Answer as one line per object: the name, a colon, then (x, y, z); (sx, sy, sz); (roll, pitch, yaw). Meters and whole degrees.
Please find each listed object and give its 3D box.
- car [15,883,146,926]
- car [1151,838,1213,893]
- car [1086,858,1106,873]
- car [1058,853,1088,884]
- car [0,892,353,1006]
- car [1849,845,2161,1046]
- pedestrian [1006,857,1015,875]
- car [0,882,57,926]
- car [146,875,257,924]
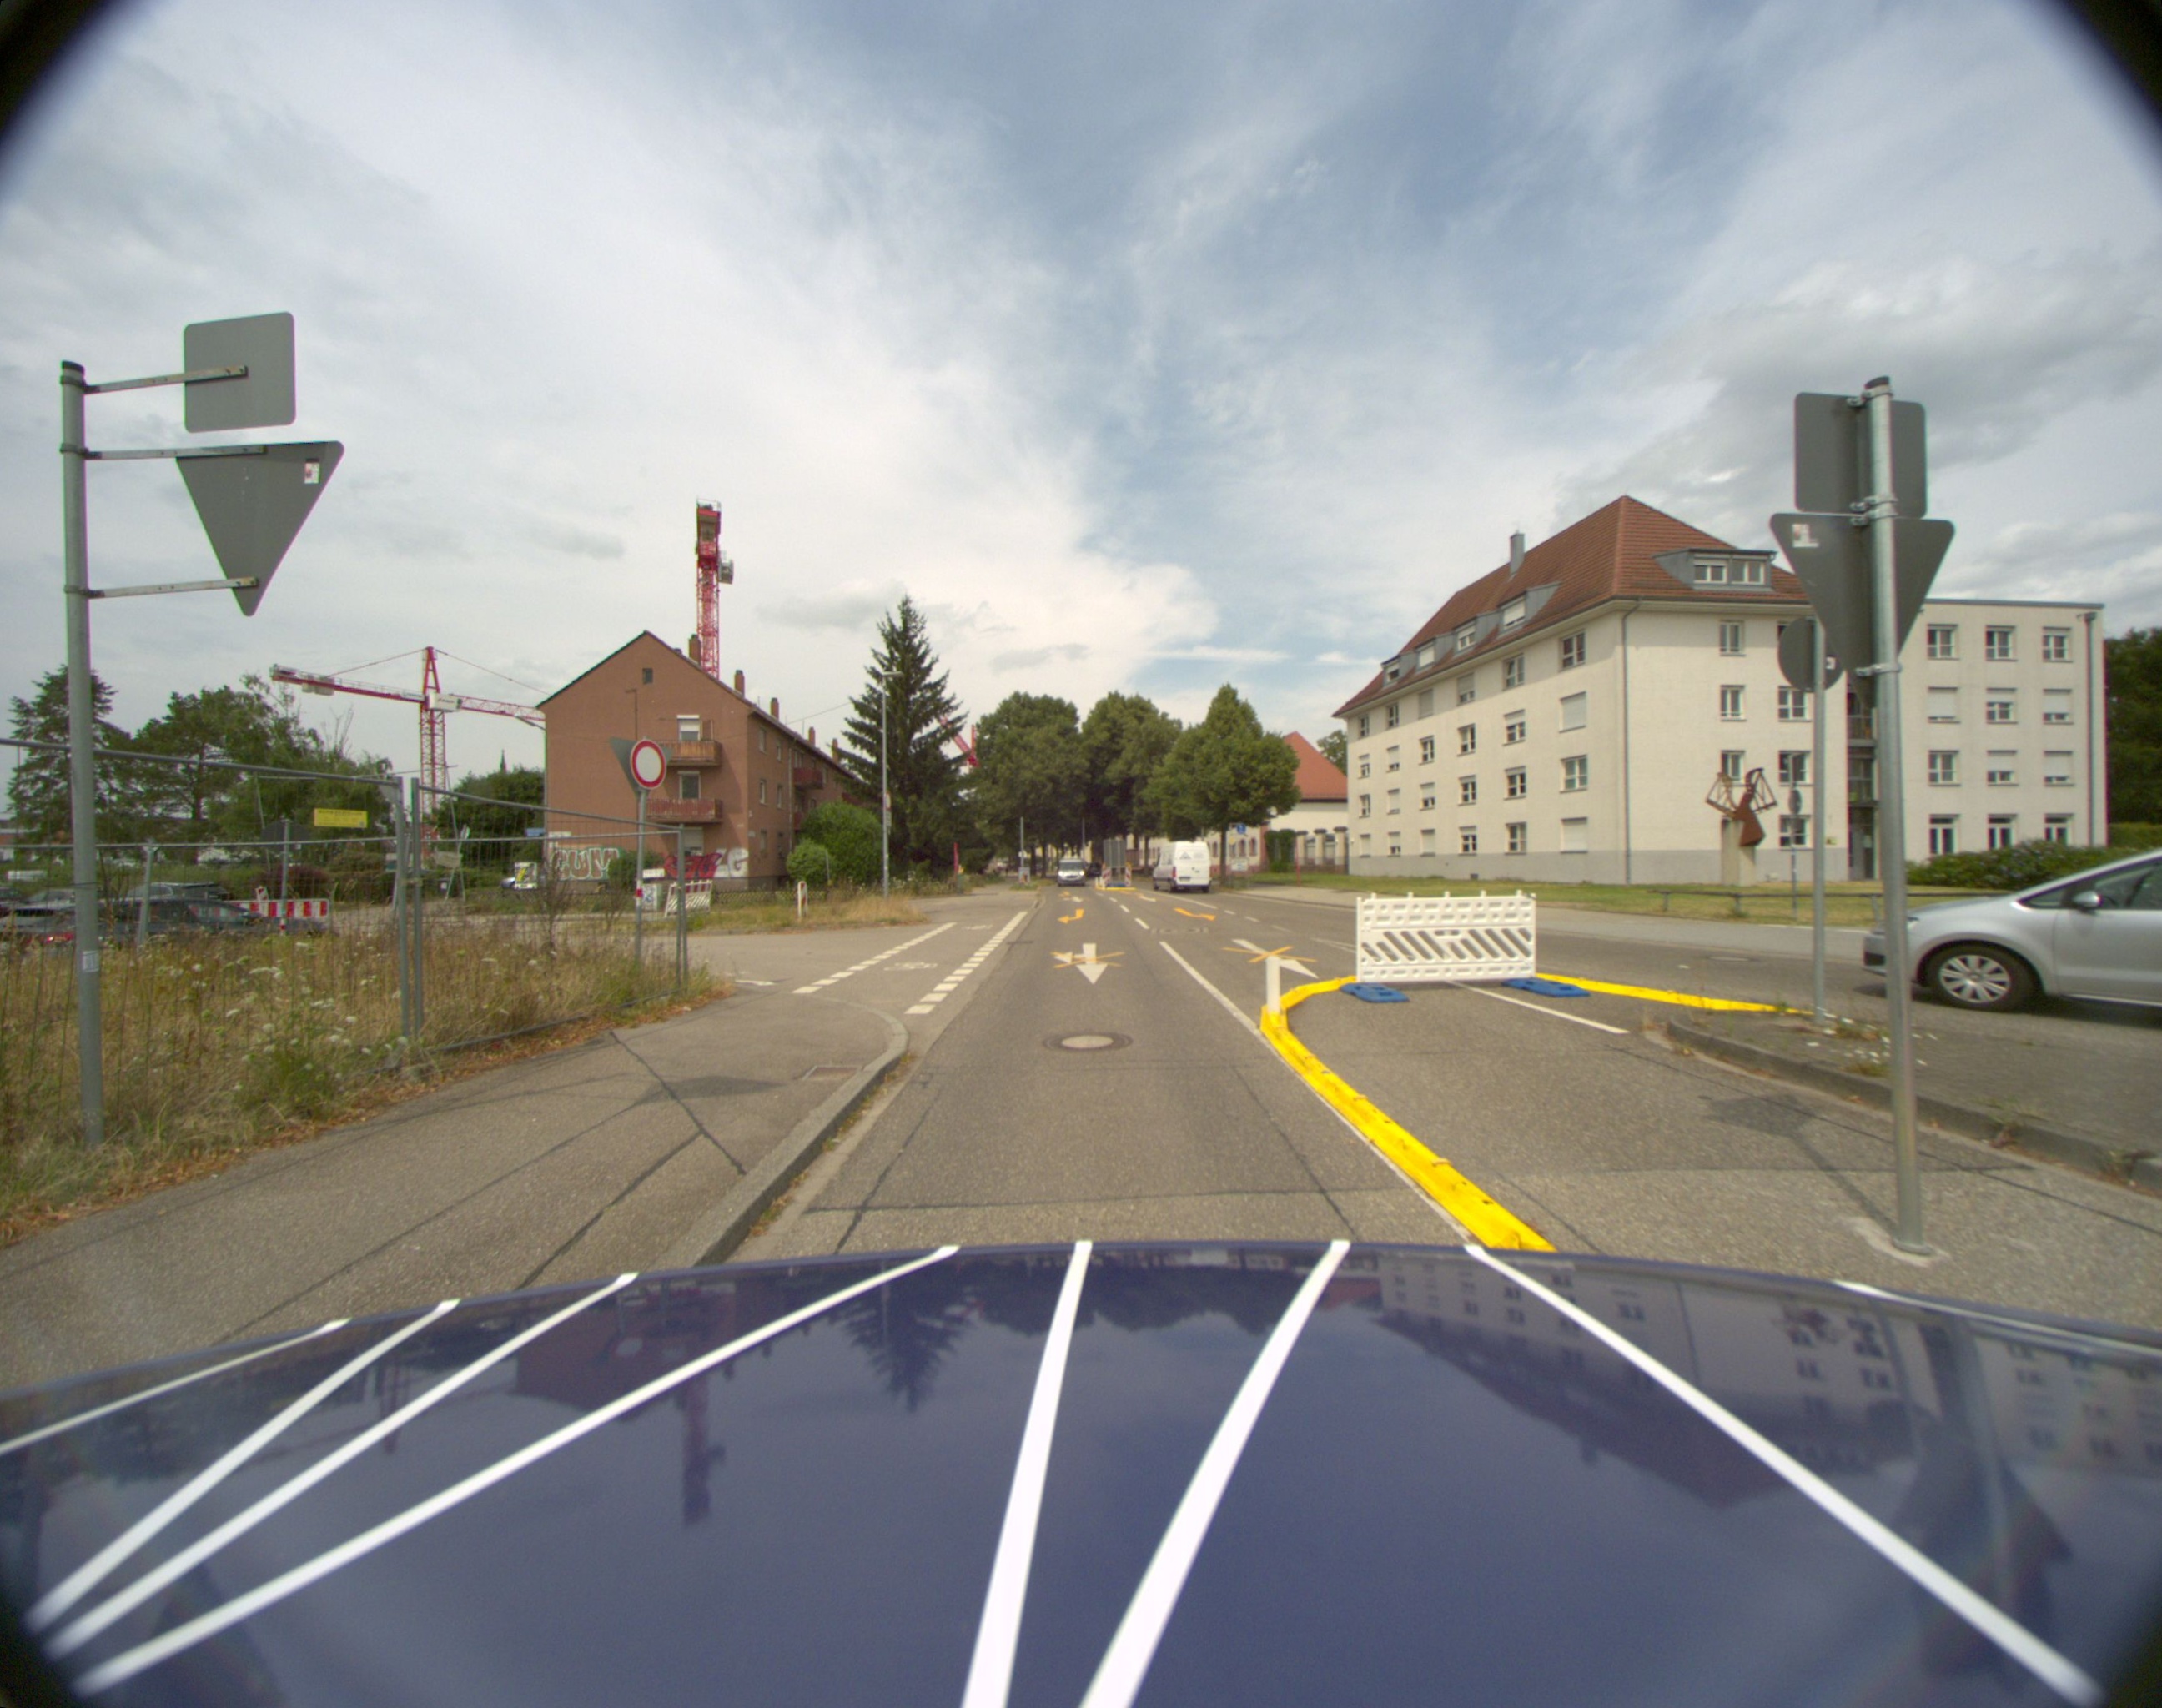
car: (-40.994, 2.045, 31.148); (4.006, 1.593, 1.804); (-1, 0, 14)
car: (5.301, 0.583, 40.660); (2.070, 2.670, 5.968); (-1, 0, -4)
car: (1.489, 1.111, 75.087); (1.677, 1.402, 3.919); (-1, 0, -3)
car: (-0.510, 0.950, 50.472); (1.809, 1.936, 4.585); (-1, 0, 1)
car: (-15.890, 1.521, 13.383); (1.765, 1.465, 4.261); (-1, 0, 6)
car: (9.739, 0.722, 6.073); (1.804, 1.613, 4.738); (-1, 0, -27)
pedestrian: (-7.711, 1.285, 82.942); (0.857, 2.002, 0.730); (-1, 0, -21)
car: (-46.010, 2.120, 32.072); (4.006, 1.739, 1.859); (-1, 0, 14)
car: (-35.582, 1.810, 30.749); (3.990, 1.838, 1.805); (-1, 0, 23)
